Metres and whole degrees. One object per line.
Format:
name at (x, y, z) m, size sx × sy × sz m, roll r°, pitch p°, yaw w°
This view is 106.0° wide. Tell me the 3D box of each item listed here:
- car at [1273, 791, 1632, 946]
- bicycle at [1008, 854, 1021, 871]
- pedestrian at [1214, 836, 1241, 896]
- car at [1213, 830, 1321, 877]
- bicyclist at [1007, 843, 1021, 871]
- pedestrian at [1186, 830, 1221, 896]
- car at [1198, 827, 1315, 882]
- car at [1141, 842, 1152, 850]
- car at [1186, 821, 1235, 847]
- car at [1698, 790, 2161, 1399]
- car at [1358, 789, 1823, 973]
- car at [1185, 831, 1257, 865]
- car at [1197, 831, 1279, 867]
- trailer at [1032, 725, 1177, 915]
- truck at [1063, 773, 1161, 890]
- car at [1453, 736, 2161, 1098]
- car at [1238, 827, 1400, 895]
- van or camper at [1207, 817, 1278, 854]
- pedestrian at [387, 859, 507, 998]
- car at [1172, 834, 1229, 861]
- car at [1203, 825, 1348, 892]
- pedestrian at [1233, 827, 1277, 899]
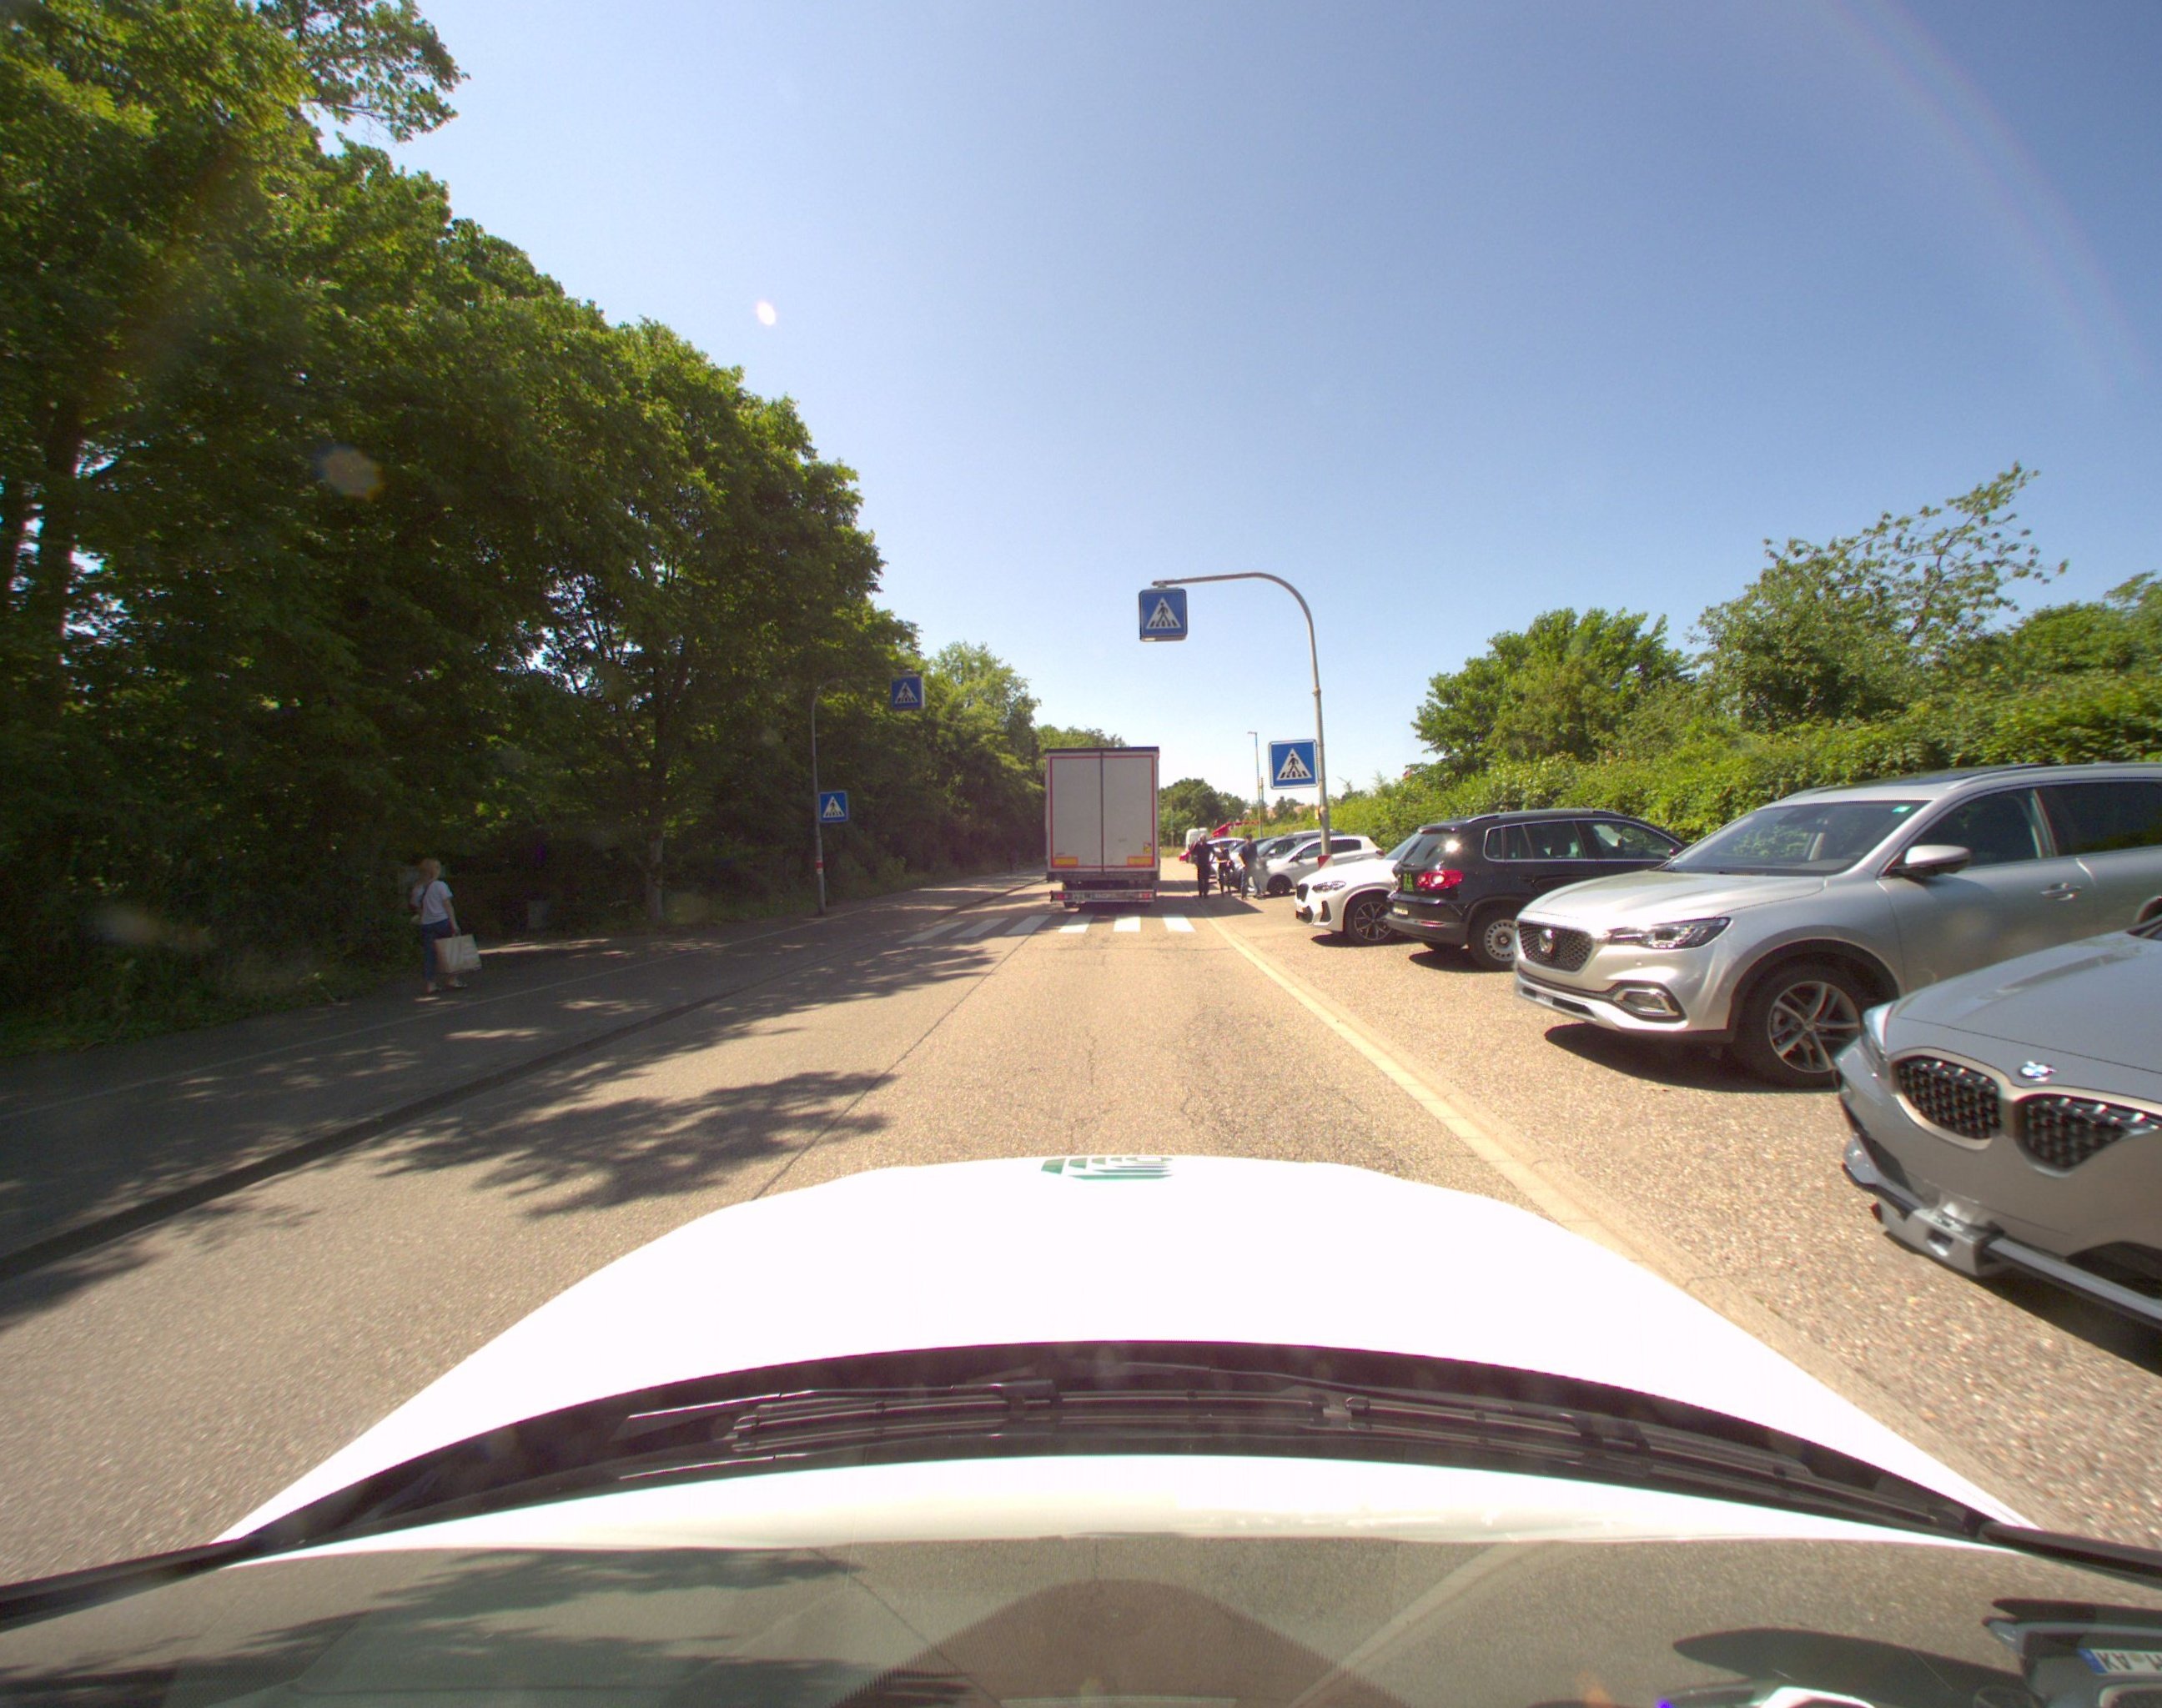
car at (5.350, 0.200, 12.153) m, size 4.391 × 1.698 × 1.876 m, roll -6°, pitch 0°, yaw -1°
bicycle at (-4.290, 0.559, 52.829) m, size 0.451 × 1.047 × 2.206 m, roll -2°, pitch 0°, yaw 4°
pedestrian at (4.153, 0.331, 23.133) m, size 0.586 × 1.615 × 0.746 m, roll -5°, pitch 0°, yaw 7°
car at (7.806, -0.024, 34.381) m, size 3.951 × 1.586 × 1.810 m, roll -5°, pitch 0°, yaw -6°
bicyclist at (-4.336, 0.189, 52.599) m, size 0.713 × 1.758 × 0.797 m, roll -2°, pitch 0°, yaw 6°
pedestrian at (3.557, 0.260, 23.715) m, size 0.817 × 1.834 × 0.794 m, roll -5°, pitch 0°, yaw 7°
car at (6.648, -0.003, 31.067) m, size 3.951 × 1.668 × 1.810 m, roll -5°, pitch 3°, yaw -6°
car at (13.434, -1.697, 167.733) m, size 1.769 × 1.486 × 4.012 m, roll -3°, pitch 1°, yaw 11°
car at (11.160, -1.735, 70.240) m, size 3.938 × 1.798 × 1.816 m, roll -5°, pitch -2°, yaw 4°
car at (4.664, 0.436, 2.478) m, size 4.117 × 1.439 × 1.814 m, roll -5°, pitch 0°, yaw 0°
car at (5.594, 0.279, 9.395) m, size 4.109 × 1.657 × 1.888 m, roll -4°, pitch 0°, yaw 2°
car at (8.522, -0.365, 49.799) m, size 3.945 × 1.765 × 1.812 m, roll -4°, pitch 0°, yaw -2°
car at (8.360, -0.275, 43.494) m, size 3.945 × 1.618 × 1.812 m, roll -4°, pitch 0°, yaw -2°
trailer at (0.846, -0.838, 23.757) m, size 3.099 × 4.102 × 11.547 m, roll -2°, pitch 1°, yaw 3°
truck at (1.233, -0.778, 29.558) m, size 3.100 × 3.725 × 6.421 m, roll -1°, pitch 1°, yaw 4°
car at (5.051, 0.263, 5.375) m, size 4.224 × 1.653 × 1.899 m, roll -6°, pitch 0°, yaw -2°
car at (6.429, 0.183, 22.407) m, size 3.936 × 1.480 × 1.817 m, roll -5°, pitch 0°, yaw 6°
van or camper at (17.072, -1.891, 85.981) m, size 6.992 × 3.587 × 2.785 m, roll -2°, pitch 0°, yaw 15°
pedestrian at (-7.804, 0.883, 10.060) m, size 0.825 × 1.622 × 0.783 m, roll -1°, pitch 0°, yaw 0°
car at (9.125, -0.482, 62.469) m, size 3.945 × 1.668 × 1.812 m, roll -5°, pitch 0°, yaw -2°
car at (5.975, 0.128, 25.327) m, size 3.948 × 1.668 × 1.811 m, roll -5°, pitch 0°, yaw -4°
pedestrian at (4.594, 0.225, 21.585) m, size 0.902 × 1.798 × 0.937 m, roll -5°, pitch 0°, yaw 7°
